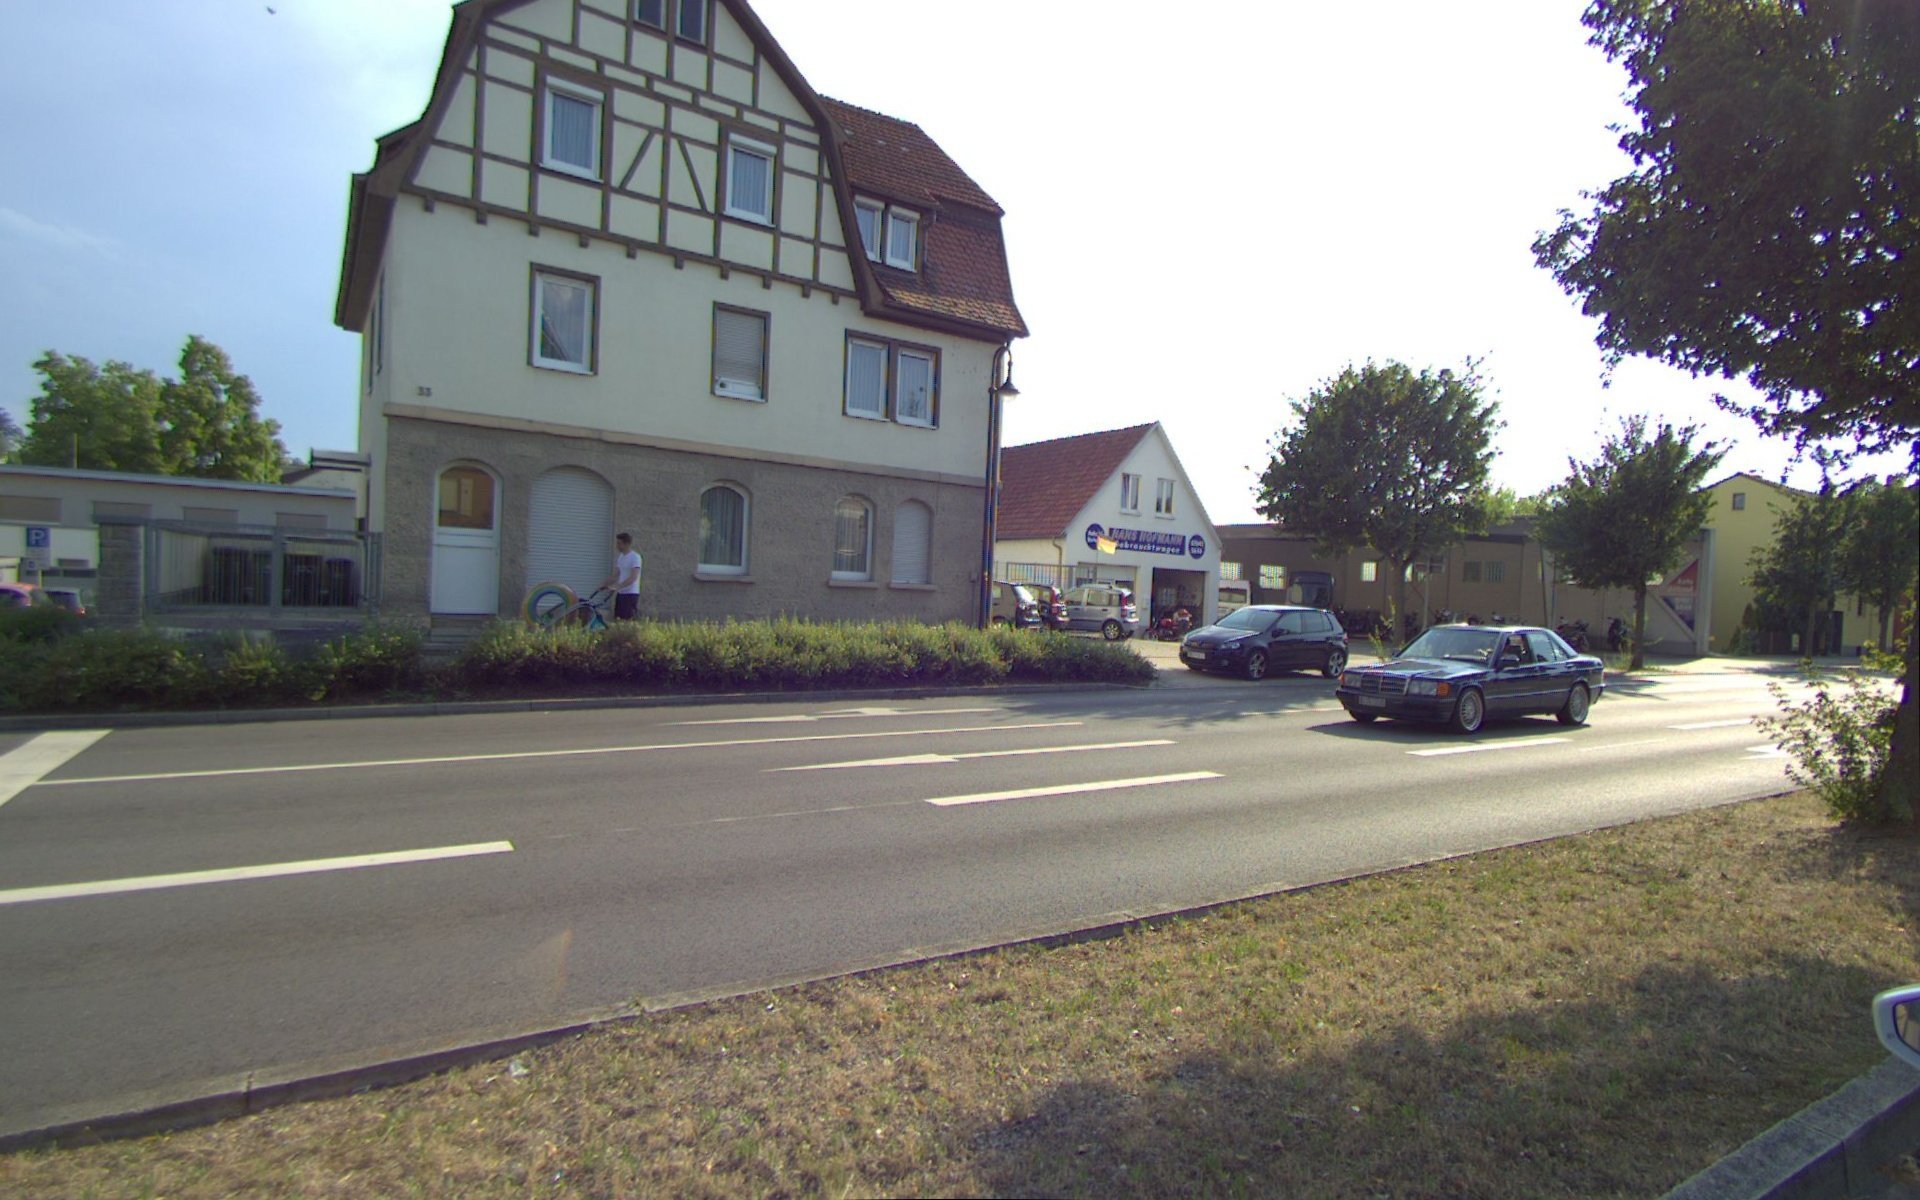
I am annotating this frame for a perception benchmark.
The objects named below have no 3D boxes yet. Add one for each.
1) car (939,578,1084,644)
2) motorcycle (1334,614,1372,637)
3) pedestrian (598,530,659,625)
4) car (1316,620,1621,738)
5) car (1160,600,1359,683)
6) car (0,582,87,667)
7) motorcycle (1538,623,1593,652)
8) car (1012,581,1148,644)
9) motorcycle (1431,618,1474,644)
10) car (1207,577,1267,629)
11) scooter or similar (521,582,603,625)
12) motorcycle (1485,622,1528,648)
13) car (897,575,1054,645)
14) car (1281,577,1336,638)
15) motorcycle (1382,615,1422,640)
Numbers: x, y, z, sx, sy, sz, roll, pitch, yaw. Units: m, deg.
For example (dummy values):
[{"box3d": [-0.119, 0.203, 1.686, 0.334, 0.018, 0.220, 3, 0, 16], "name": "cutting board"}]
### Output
[{"box3d": [1.429, 0.258, 28.409, 3.618, 1.497, 1.819, 6, 4, 33], "name": "car"}, {"box3d": [18.960, 1.228, 48.469, 1.605, 1.083, 0.517, 1, 0, 0], "name": "motorcycle"}, {"box3d": [-5.091, -0.331, 15.418, 0.699, 1.413, 0.807, 1, 0, -33], "name": "pedestrian"}, {"box3d": [7.187, 1.018, 14.073, 4.434, 1.379, 1.747, 1, 0, -31], "name": "car"}, {"box3d": [6.397, 0.846, 21.362, 4.087, 1.474, 1.746, 1, 4, -32], "name": "car"}, {"box3d": [-18.217, 0.409, 19.141, 1.542, 1.489, 3.587, 2, -1, -27], "name": "car"}, {"box3d": [24.085, 1.494, 39.947, 1.832, 1.083, 0.517, 1, 0, 4], "name": "motorcycle"}, {"box3d": [3.610, 0.335, 30.036, 3.609, 1.497, 1.823, 5, 4, 22], "name": "car"}, {"box3d": [21.682, 1.373, 44.239, 1.605, 1.083, 0.517, 1, 0, 0], "name": "motorcycle"}, {"box3d": [13.017, 0.080, 47.083, 2.004, 2.179, 4.317, 5, 4, 23], "name": "car"}, {"box3d": [-5.789, 0.055, 14.621, 1.033, 0.590, 0.441, 1, 0, -34], "name": "scooter or similar"}, {"box3d": [22.797, 1.469, 41.923, 1.512, 1.018, 0.517, 1, 0, -2], "name": "motorcycle"}, {"box3d": [0.392, 0.241, 26.083, 3.618, 1.548, 1.819, 4, 1, 33], "name": "car"}, {"box3d": [15.420, 0.259, 44.437, 2.003, 2.367, 4.319, 5, 4, 20], "name": "car"}, {"box3d": [20.371, 1.270, 46.303, 1.605, 1.121, 0.517, 1, 0, 0], "name": "motorcycle"}]
